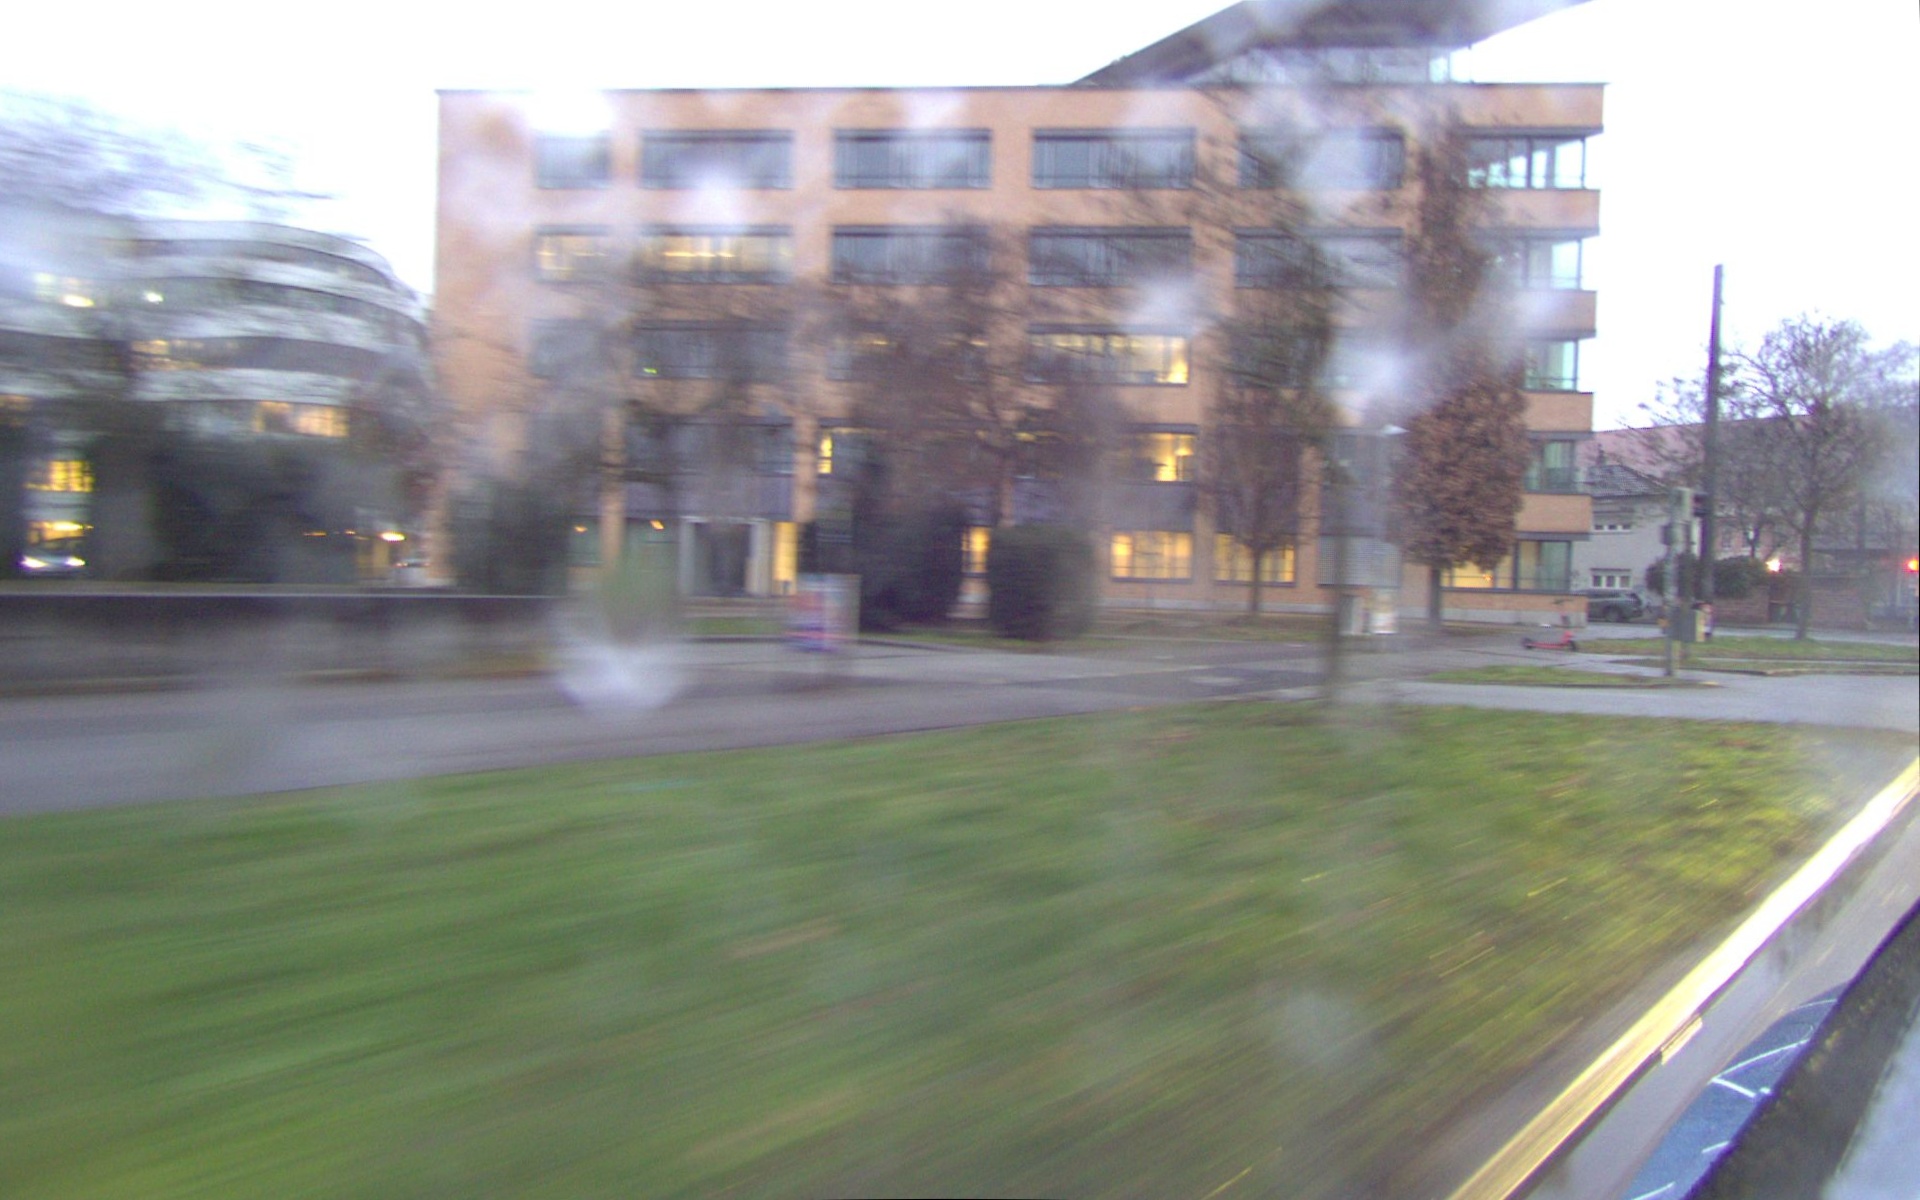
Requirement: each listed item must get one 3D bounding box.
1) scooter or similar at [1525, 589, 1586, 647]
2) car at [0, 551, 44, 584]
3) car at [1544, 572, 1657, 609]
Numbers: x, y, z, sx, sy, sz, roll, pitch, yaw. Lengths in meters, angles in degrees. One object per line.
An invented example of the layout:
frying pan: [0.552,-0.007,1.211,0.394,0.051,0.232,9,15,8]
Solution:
scooter or similar: [13.477,0.395,22.915,1.137,1.247,0.482,2,1,33]
car: [-36.735,-1.246,37.827,3.642,1.195,1.671,2,1,5]
car: [32.588,-0.487,51.570,1.967,1.690,4.502,0,2,-44]
